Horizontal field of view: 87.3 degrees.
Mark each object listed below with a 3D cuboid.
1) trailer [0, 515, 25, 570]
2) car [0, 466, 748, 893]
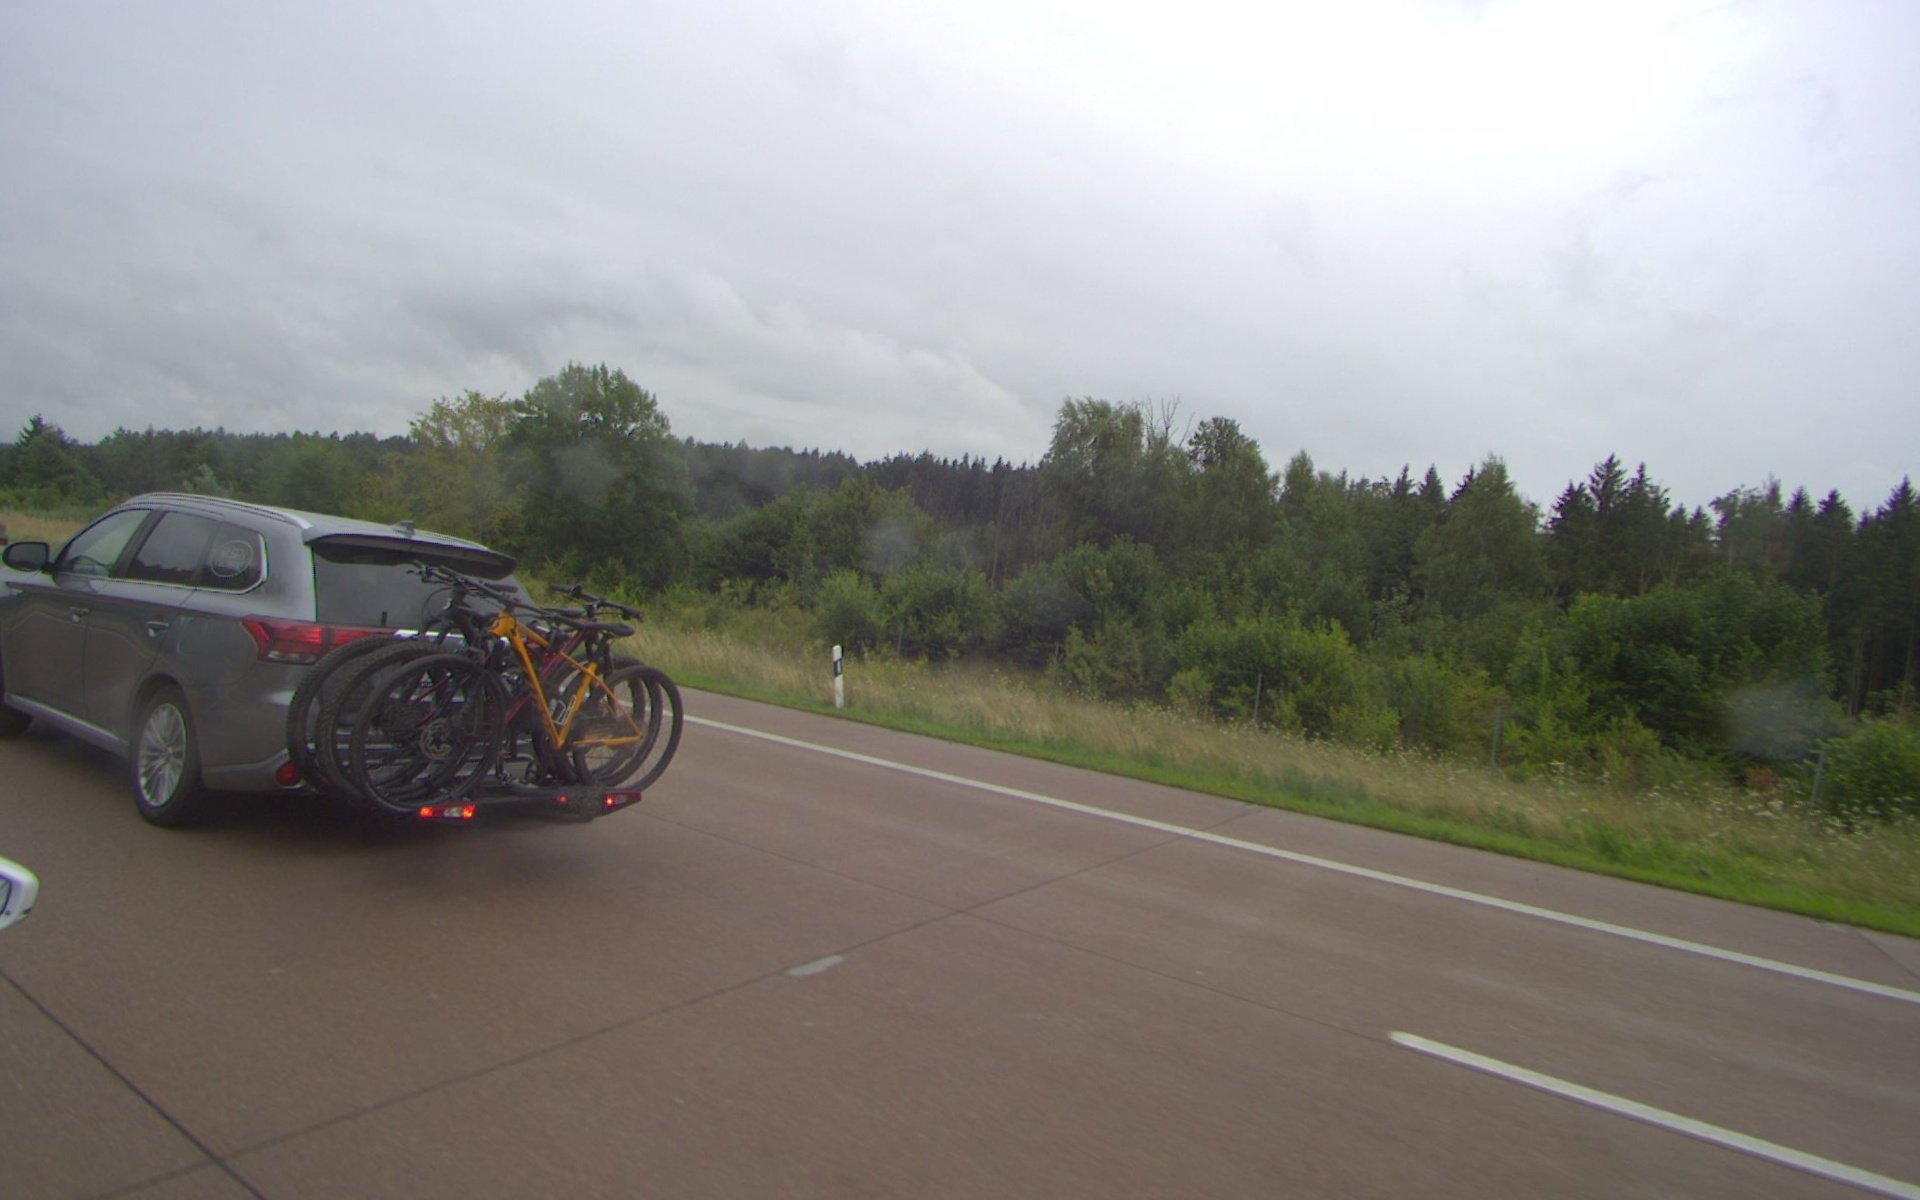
[{"bbox_3d":[-24.081,-1.616,23.645,4.563,1.180,1.975,7,-2,33],"label":"trailer"},{"bbox_3d":[-4.212,0.200,6.251,5.723,1.611,1.998,6,-2,31],"label":"car"}]
